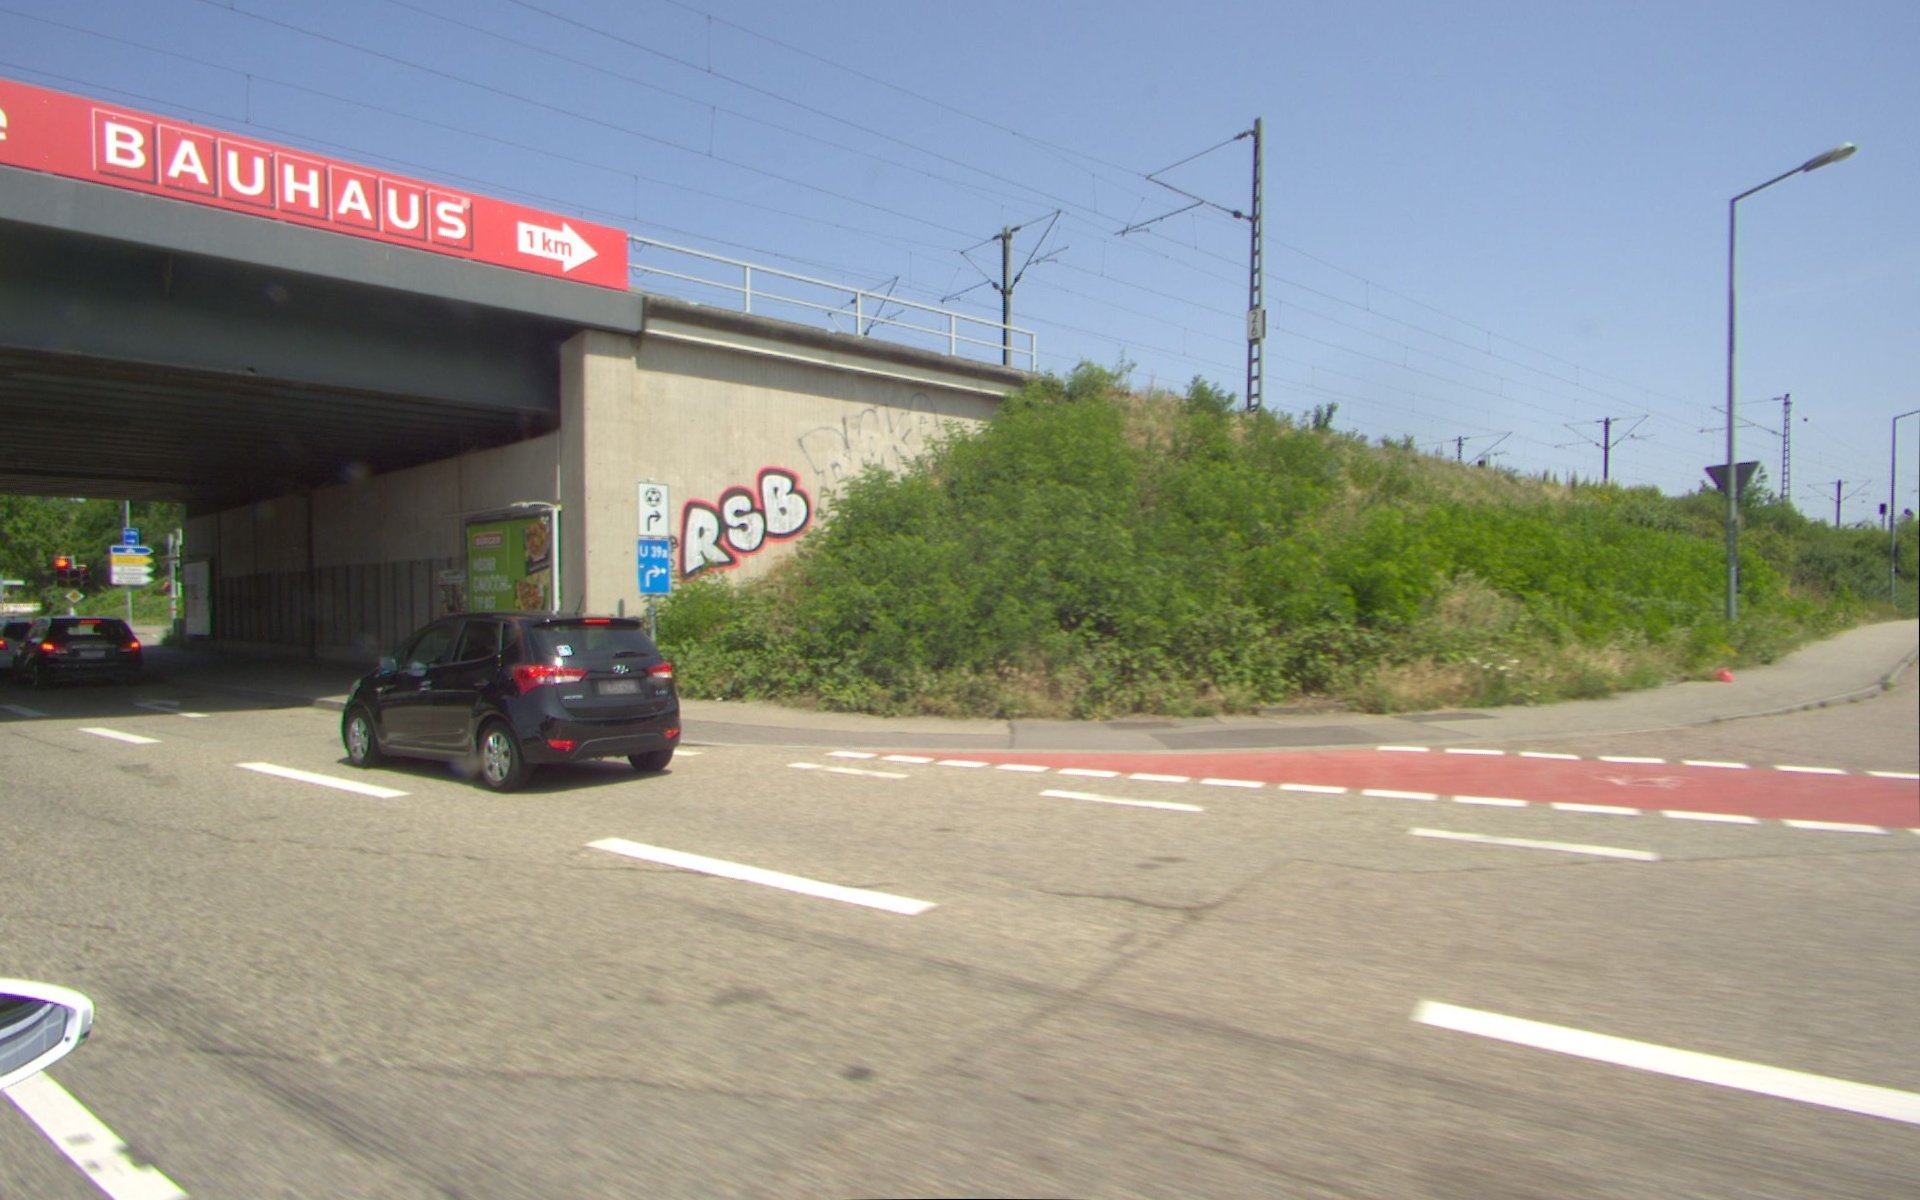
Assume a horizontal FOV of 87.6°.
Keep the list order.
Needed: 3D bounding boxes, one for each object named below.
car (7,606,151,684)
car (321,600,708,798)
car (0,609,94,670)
[{"bbox_3d":[-19.877,0.961,22.547,3.952,1.589,1.832,-1,-1,39],"label":"car"},{"bbox_3d":[-4.585,0.851,10.112,4.023,1.619,1.762,0,-2,35],"label":"car"},{"bbox_3d":[-24.667,1.021,26.584,3.952,1.508,1.897,-1,-1,39],"label":"car"}]
